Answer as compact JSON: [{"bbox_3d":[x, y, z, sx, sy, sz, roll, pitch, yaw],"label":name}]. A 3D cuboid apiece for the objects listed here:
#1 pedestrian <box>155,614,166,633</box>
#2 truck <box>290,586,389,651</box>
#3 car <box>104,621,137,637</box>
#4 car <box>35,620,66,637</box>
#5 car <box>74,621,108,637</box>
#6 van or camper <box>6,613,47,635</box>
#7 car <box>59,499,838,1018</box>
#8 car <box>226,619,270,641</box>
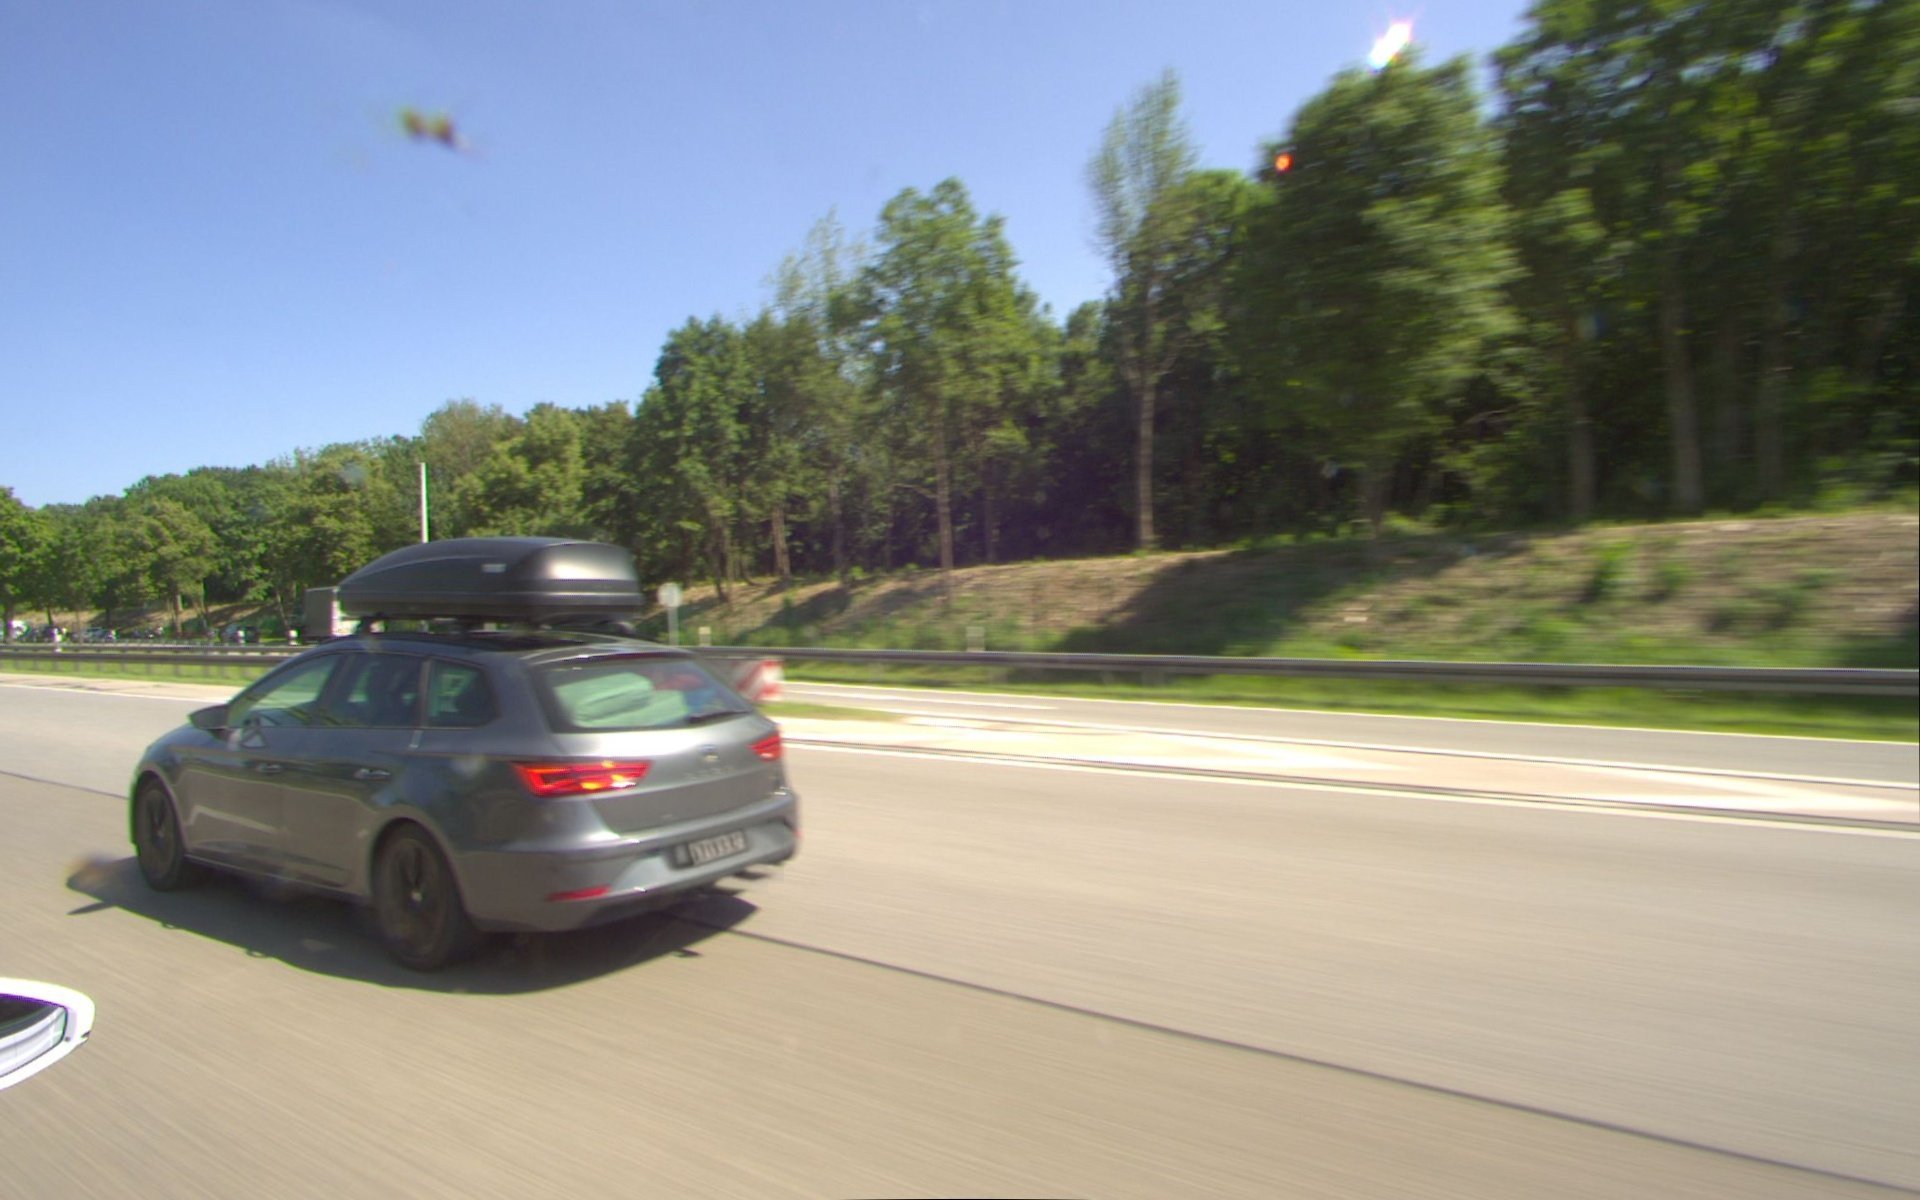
[{"bbox_3d":[-77.996,2.264,97.670,0.793,1.806,0.636,-1,1,-45],"label":"pedestrian"},{"bbox_3d":[-40.885,1.184,65.848,9.250,3.999,3.266,-1,0,43],"label":"truck"},{"bbox_3d":[-88.279,3.054,105.275,3.954,1.594,1.984,-1,-1,41],"label":"car"},{"bbox_3d":[-102.697,3.254,113.045,4.738,1.901,1.650,-1,-1,37],"label":"car"},{"bbox_3d":[-94.128,3.129,108.459,4.587,1.697,1.652,-1,-1,34],"label":"car"},{"bbox_3d":[-112.632,2.890,120.768,5.792,2.563,2.199,-1,-1,32],"label":"van or camper"},{"bbox_3d":[-3.080,0.603,5.630,4.757,1.901,1.661,-1,1,32],"label":"car"},{"bbox_3d":[-58.360,2.431,82.080,4.269,1.673,1.983,-1,0,41],"label":"car"}]
